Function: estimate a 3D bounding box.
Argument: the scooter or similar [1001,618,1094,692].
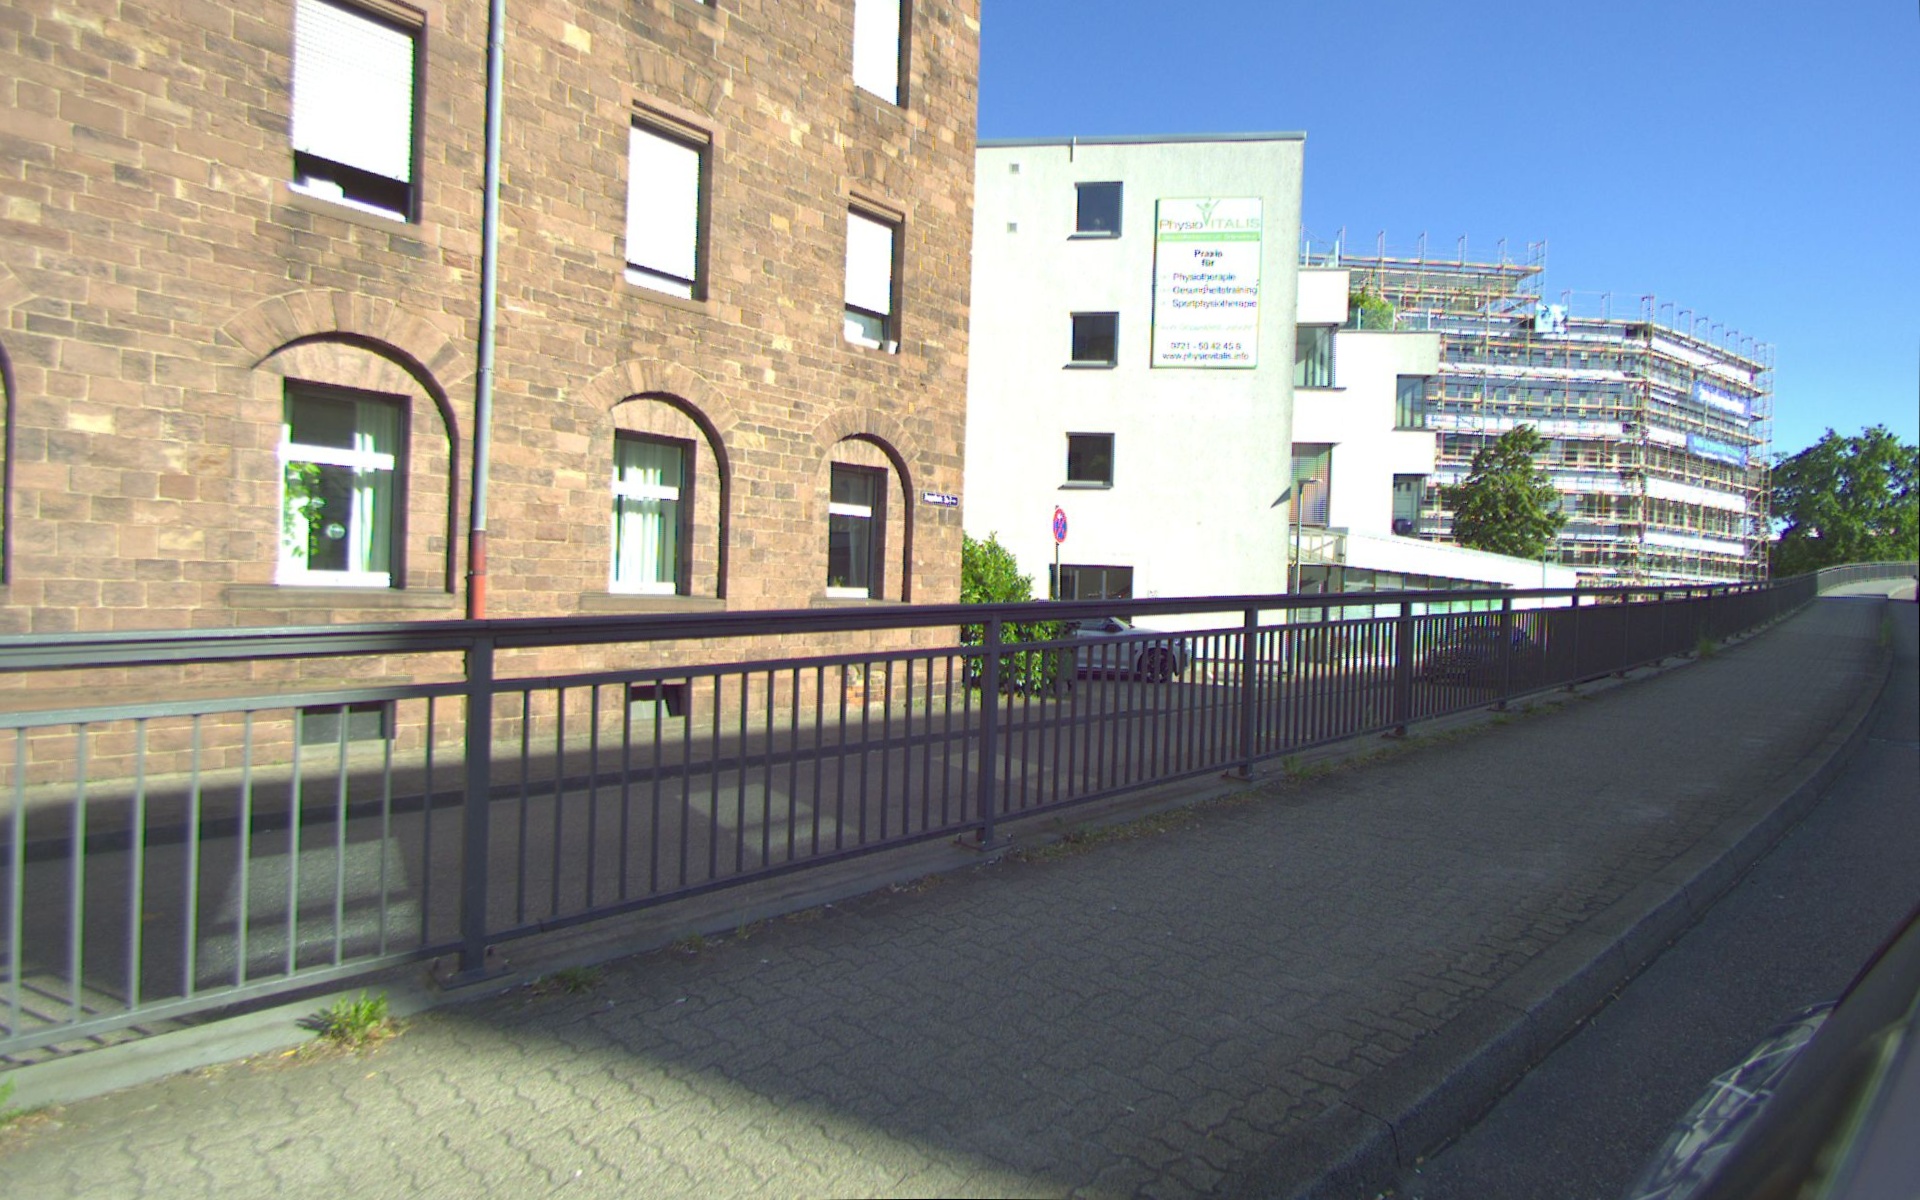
[{"bbox_3d":[1.525,0.936,17.778,1.455,1.235,0.774,-1,-2,40],"label":"scooter or similar"}]

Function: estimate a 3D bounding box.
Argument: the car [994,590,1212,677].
[{"bbox_3d":[3.082,0.697,22.346,4.568,1.789,1.825,0,1,6],"label":"car"}]

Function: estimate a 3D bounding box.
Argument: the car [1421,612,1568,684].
[{"bbox_3d":[13.375,1.124,25.208,4.604,1.448,1.846,-2,2,-43],"label":"car"}]

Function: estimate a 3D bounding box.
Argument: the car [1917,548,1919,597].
[{"bbox_3d":[46.802,-1.378,47.824,4.522,2.240,1.908,-5,4,-42],"label":"car"}]

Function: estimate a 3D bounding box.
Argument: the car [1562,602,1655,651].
[{"bbox_3d":[22.683,0.892,35.358,3.934,1.554,1.846,1,2,-44],"label":"car"}]
